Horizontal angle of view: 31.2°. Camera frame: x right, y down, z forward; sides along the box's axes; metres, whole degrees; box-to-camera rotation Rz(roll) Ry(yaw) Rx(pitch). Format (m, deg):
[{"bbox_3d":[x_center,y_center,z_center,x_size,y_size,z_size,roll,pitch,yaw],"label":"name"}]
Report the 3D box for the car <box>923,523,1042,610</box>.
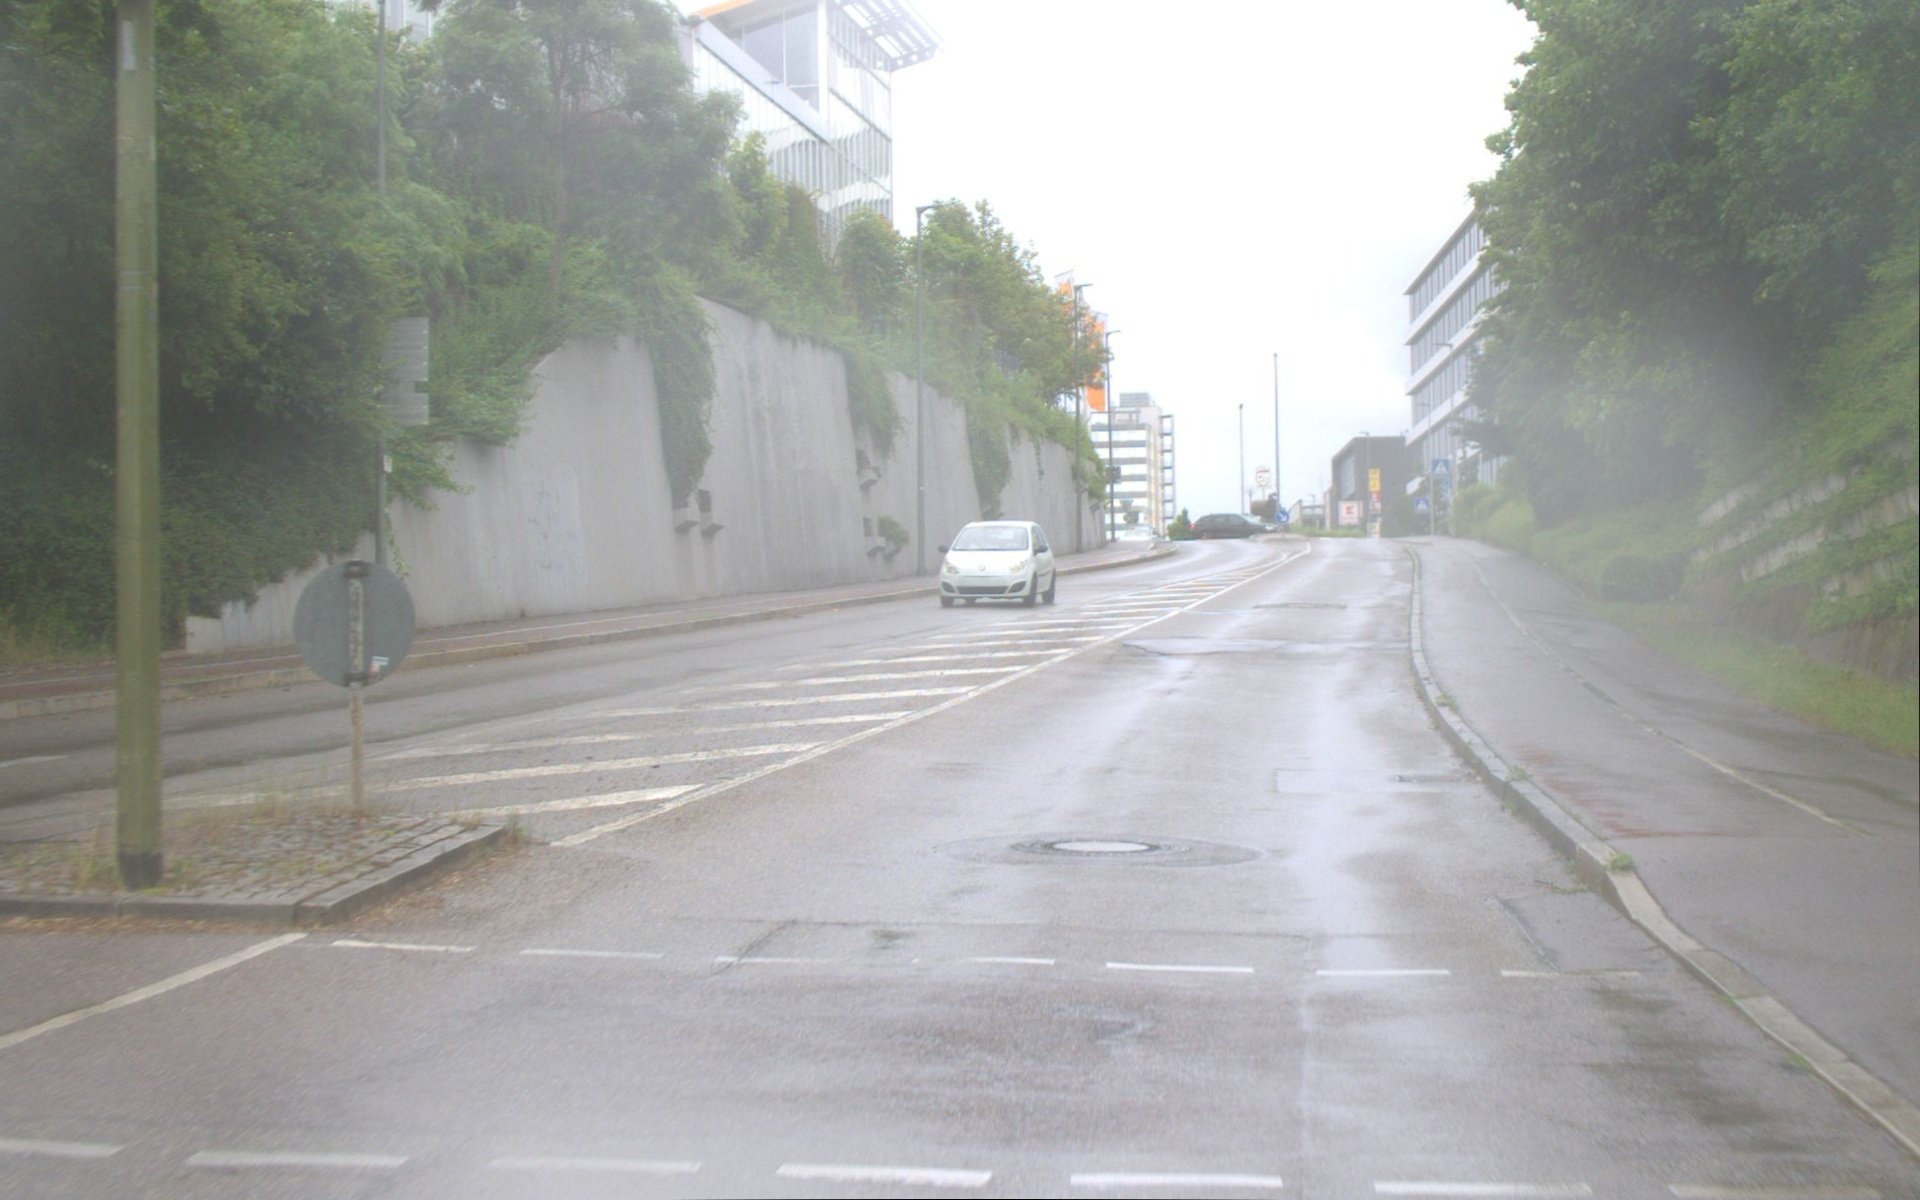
[{"bbox_3d":[0.362,-0.562,59.847,1.512,1.443,3.817,0,0,-8],"label":"car"}]
